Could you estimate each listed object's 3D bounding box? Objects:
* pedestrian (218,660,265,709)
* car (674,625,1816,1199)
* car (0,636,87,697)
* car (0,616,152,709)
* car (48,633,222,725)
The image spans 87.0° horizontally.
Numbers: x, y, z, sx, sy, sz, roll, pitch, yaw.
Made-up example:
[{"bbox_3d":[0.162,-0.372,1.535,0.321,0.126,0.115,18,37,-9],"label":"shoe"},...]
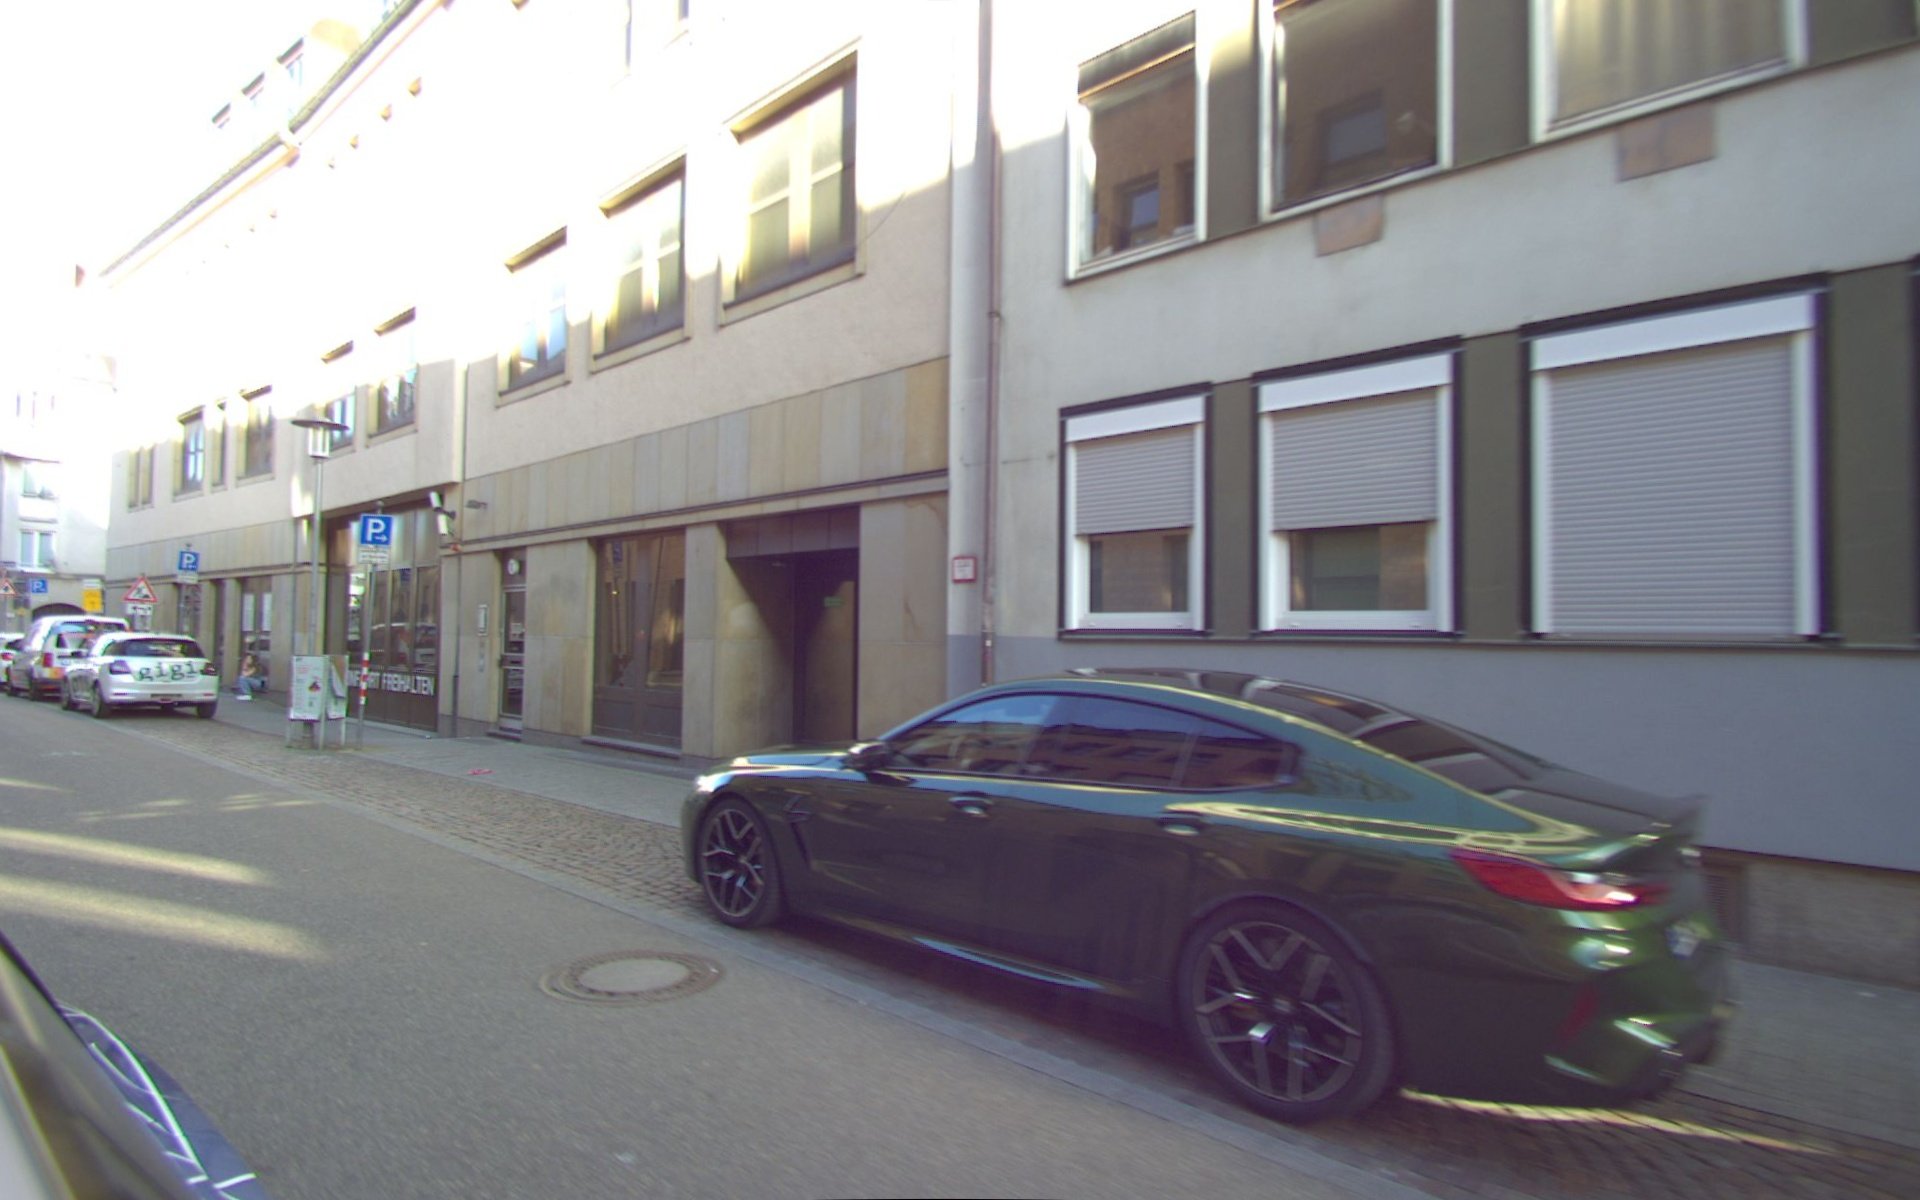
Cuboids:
[{"bbox_3d":[-15.911,1.866,22.403,0.616,1.043,0.649,-1,-3,35],"label":"pedestrian"},{"bbox_3d":[0.805,0.933,4.668,4.728,1.542,1.869,-1,-3,43],"label":"car"},{"bbox_3d":[-24.500,1.705,26.363,3.791,1.504,1.722,-1,-5,35],"label":"car"},{"bbox_3d":[-20.013,1.377,22.722,4.728,1.872,1.880,-2,-5,39],"label":"car"},{"bbox_3d":[-15.297,1.415,18.711,3.771,1.534,1.653,-1,-6,39],"label":"car"}]
